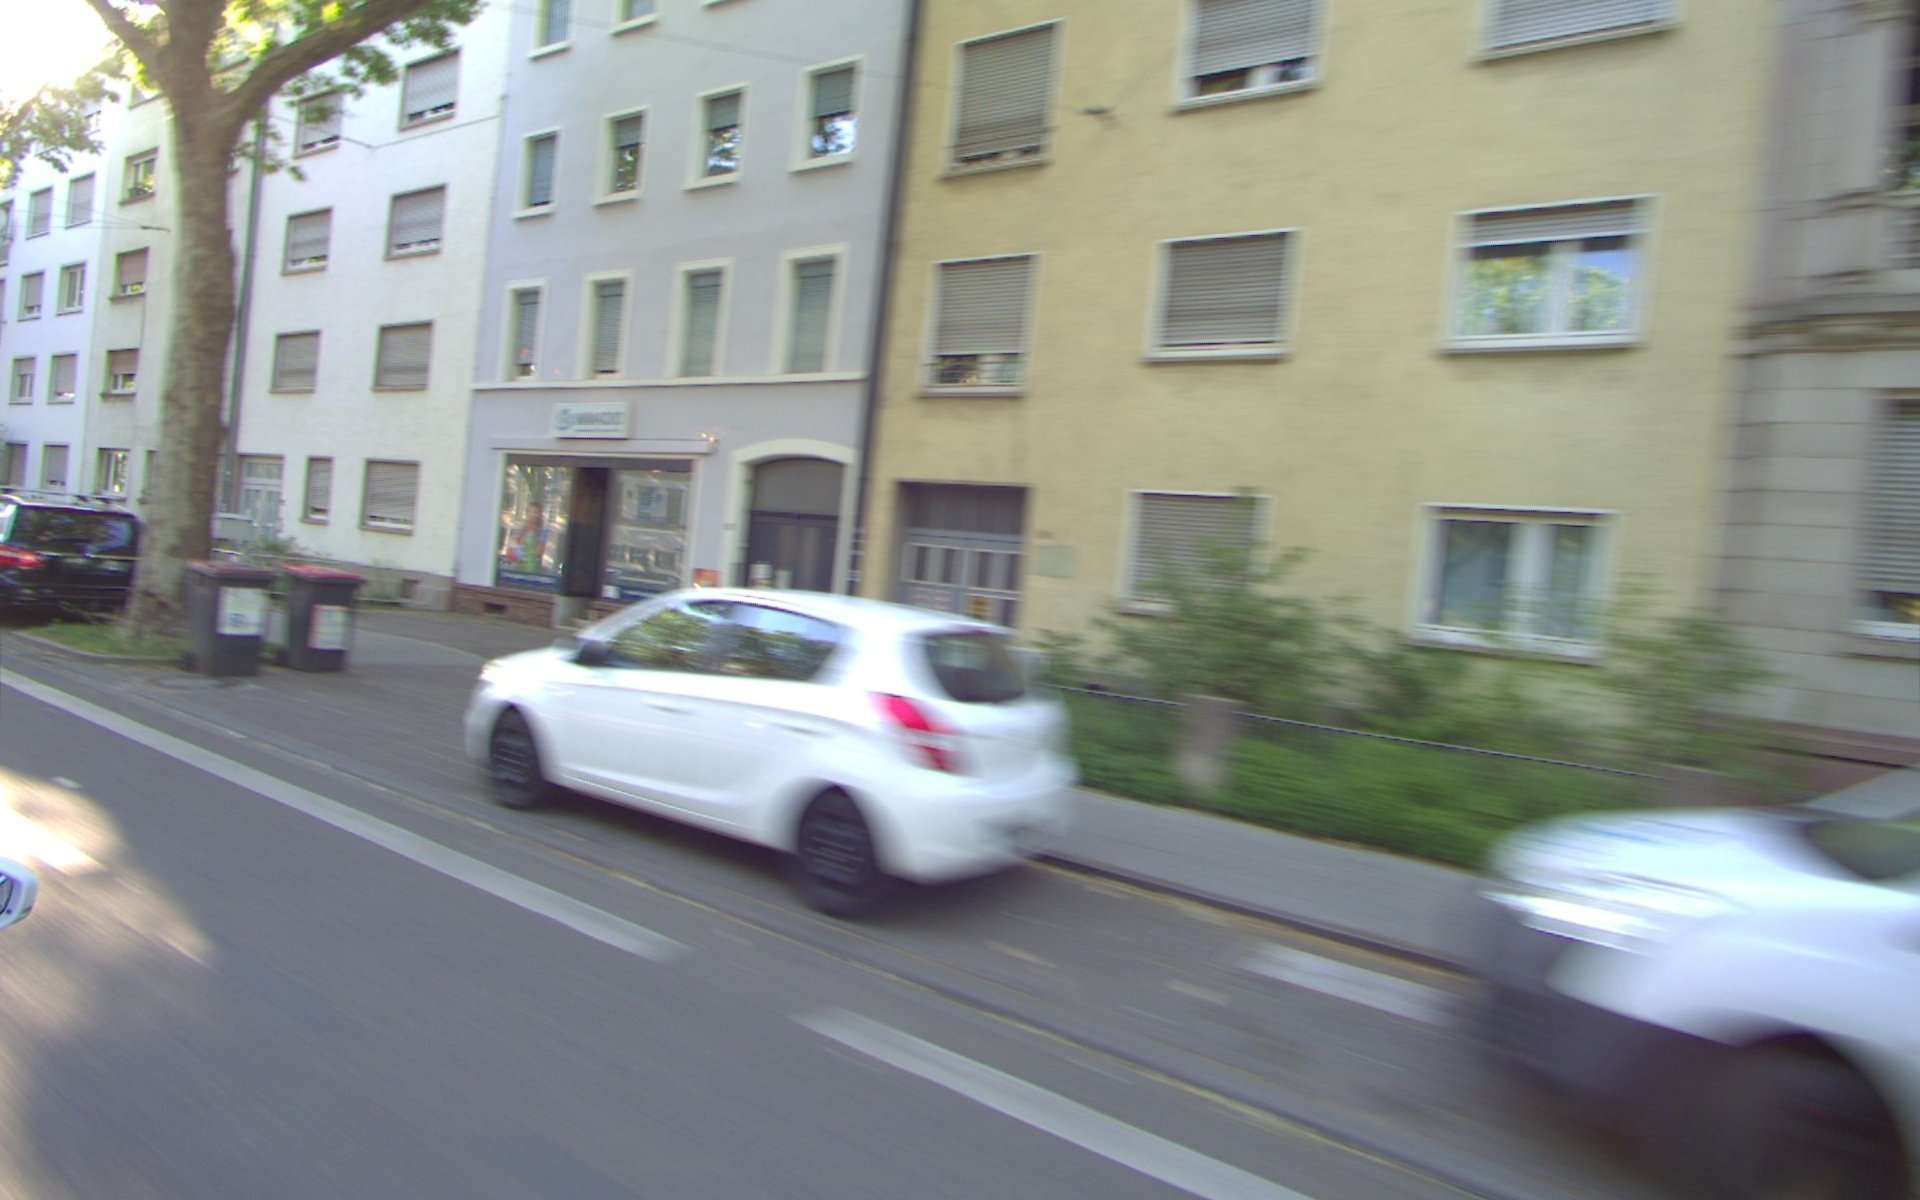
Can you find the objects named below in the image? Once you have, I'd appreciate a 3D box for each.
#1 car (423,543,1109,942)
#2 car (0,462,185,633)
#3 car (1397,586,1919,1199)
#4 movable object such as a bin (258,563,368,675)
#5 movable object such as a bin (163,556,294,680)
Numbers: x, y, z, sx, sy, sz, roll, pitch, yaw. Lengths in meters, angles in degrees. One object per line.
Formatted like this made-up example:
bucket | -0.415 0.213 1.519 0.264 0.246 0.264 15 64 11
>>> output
car | -1.302 0.623 6.166 3.933 1.505 1.647 7 1 31
car | -12.106 -0.745 12.820 4.905 1.792 1.746 6 0 30
car | 3.765 1.075 2.780 4.324 1.792 1.745 6 0 34
movable object such as a bin | -6.815 0.202 10.603 0.834 1.061 0.609 7 1 31
movable object such as a bin | -7.088 0.175 9.750 0.865 1.059 0.674 8 2 31
